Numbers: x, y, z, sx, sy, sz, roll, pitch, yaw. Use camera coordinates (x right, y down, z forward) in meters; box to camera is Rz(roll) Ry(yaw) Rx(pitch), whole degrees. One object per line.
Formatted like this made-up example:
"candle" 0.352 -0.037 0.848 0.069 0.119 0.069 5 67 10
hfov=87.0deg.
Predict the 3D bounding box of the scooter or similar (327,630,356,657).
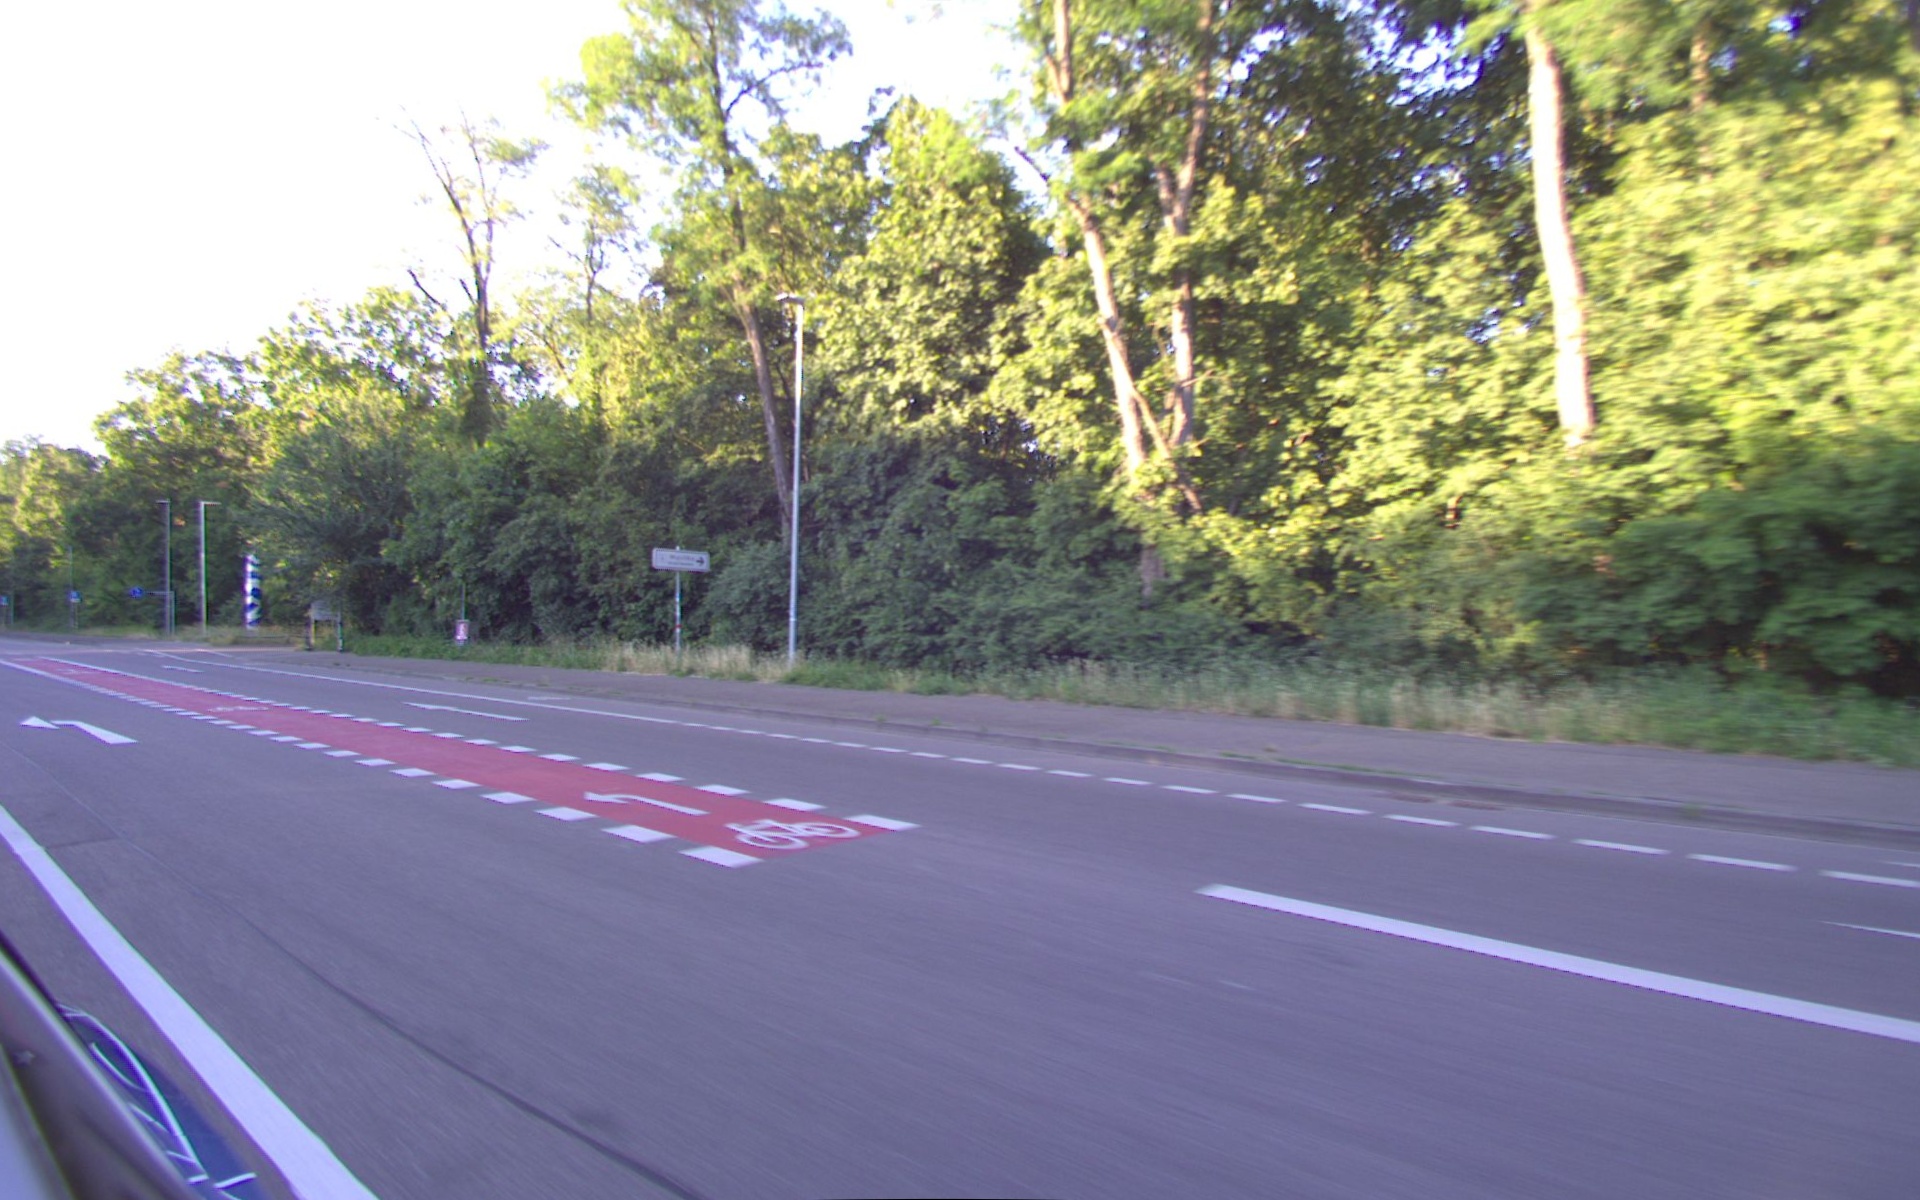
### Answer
"scooter or similar" -24.690 1.732 40.436 0.491 1.076 0.895 -1 -1 16

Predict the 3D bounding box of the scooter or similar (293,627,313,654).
"scooter or similar" -27.597 1.680 42.516 0.356 1.118 0.881 0 -1 -7
